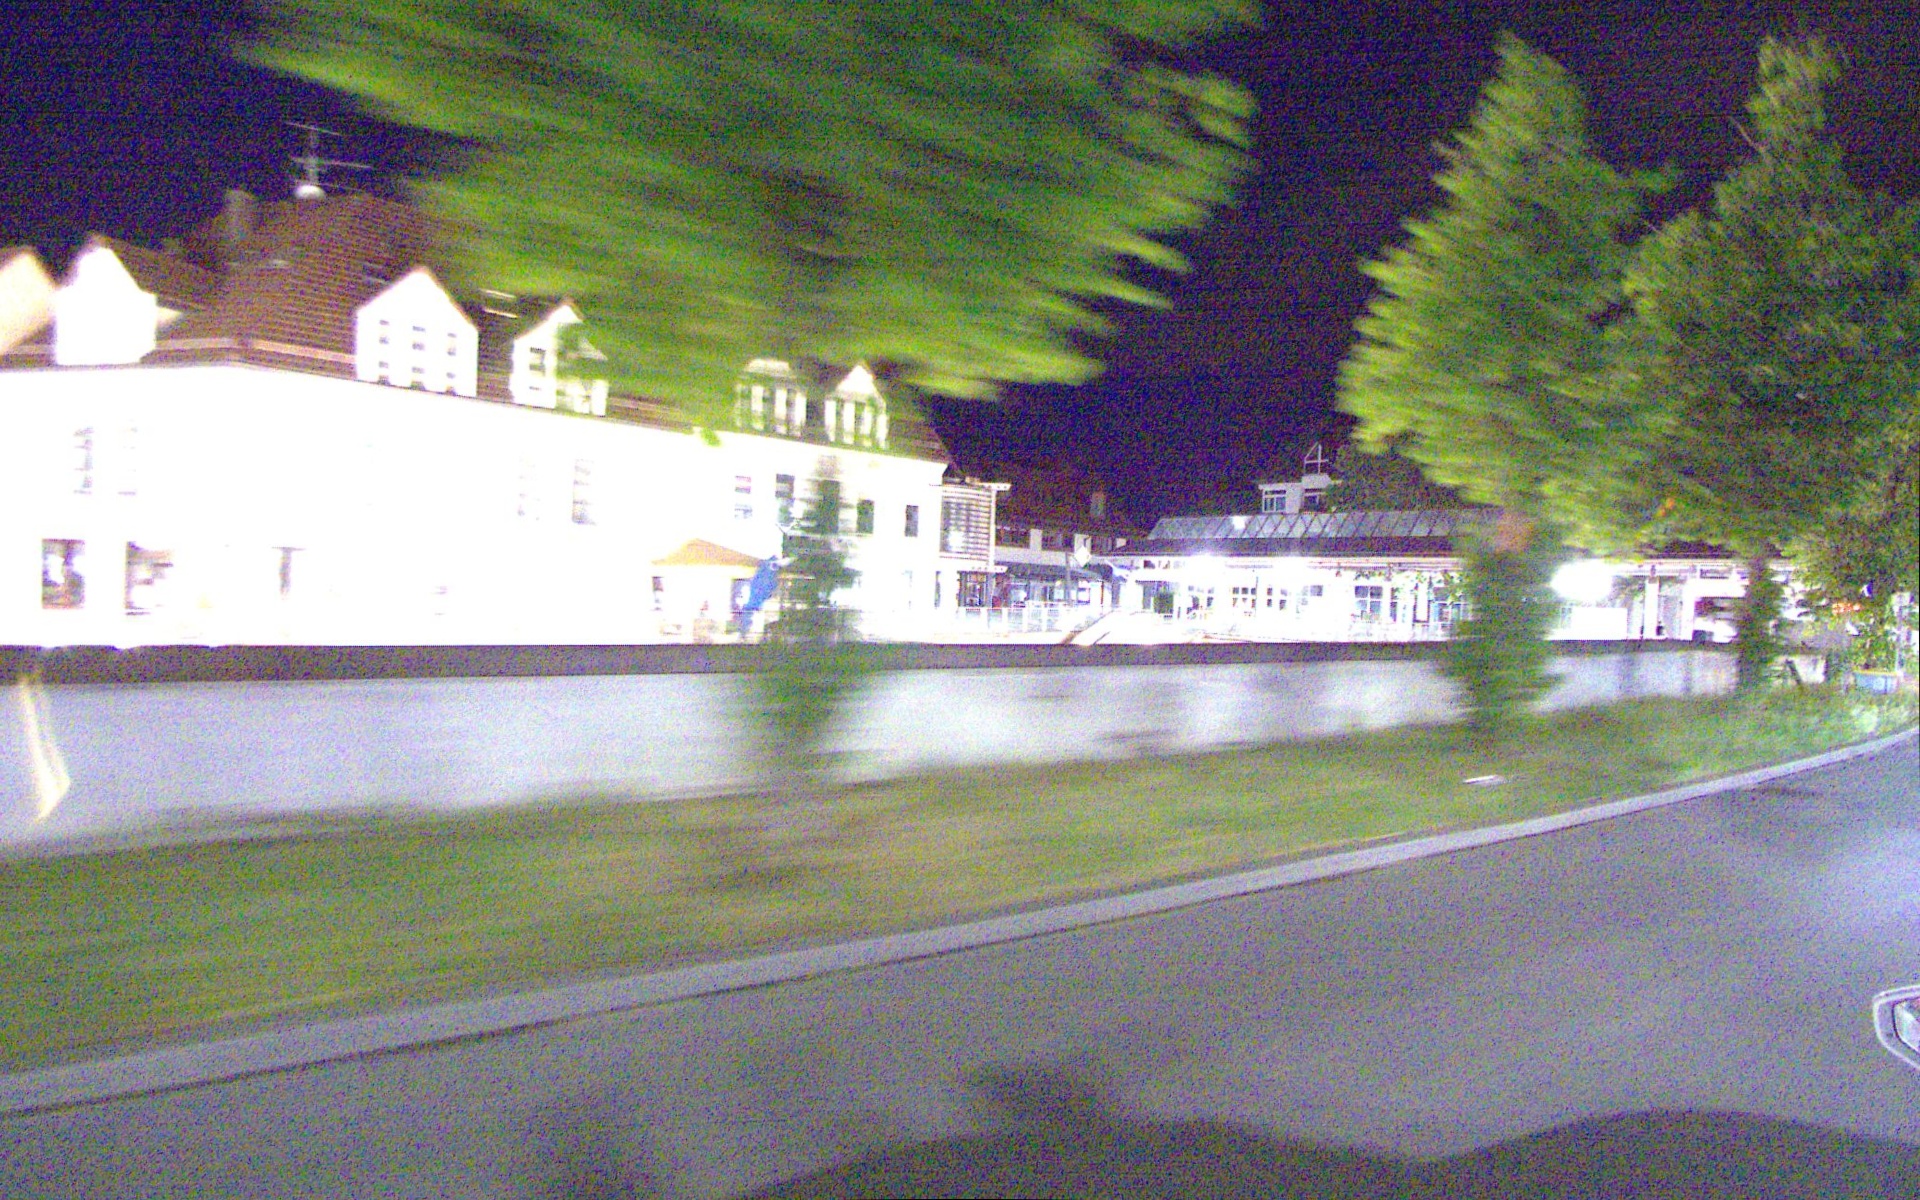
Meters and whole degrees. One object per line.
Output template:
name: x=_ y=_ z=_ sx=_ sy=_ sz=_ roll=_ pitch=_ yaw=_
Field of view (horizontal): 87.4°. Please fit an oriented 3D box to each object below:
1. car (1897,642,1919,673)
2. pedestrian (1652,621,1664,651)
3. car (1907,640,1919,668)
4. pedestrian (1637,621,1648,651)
car: x=47.694 y=2.883 z=49.696 sx=1.815 sy=1.472 sz=3.975 roll=0 pitch=-2 yaw=45
pedestrian: x=37.245 y=1.918 z=53.594 sx=0.520 sy=1.566 sz=0.509 roll=0 pitch=0 yaw=36
car: x=55.363 y=3.063 z=57.119 sx=1.811 sy=1.472 sz=3.983 roll=0 pitch=-1 yaw=38
pedestrian: x=36.794 y=1.940 z=54.177 sx=0.453 sy=1.566 sz=0.479 roll=0 pitch=0 yaw=39
